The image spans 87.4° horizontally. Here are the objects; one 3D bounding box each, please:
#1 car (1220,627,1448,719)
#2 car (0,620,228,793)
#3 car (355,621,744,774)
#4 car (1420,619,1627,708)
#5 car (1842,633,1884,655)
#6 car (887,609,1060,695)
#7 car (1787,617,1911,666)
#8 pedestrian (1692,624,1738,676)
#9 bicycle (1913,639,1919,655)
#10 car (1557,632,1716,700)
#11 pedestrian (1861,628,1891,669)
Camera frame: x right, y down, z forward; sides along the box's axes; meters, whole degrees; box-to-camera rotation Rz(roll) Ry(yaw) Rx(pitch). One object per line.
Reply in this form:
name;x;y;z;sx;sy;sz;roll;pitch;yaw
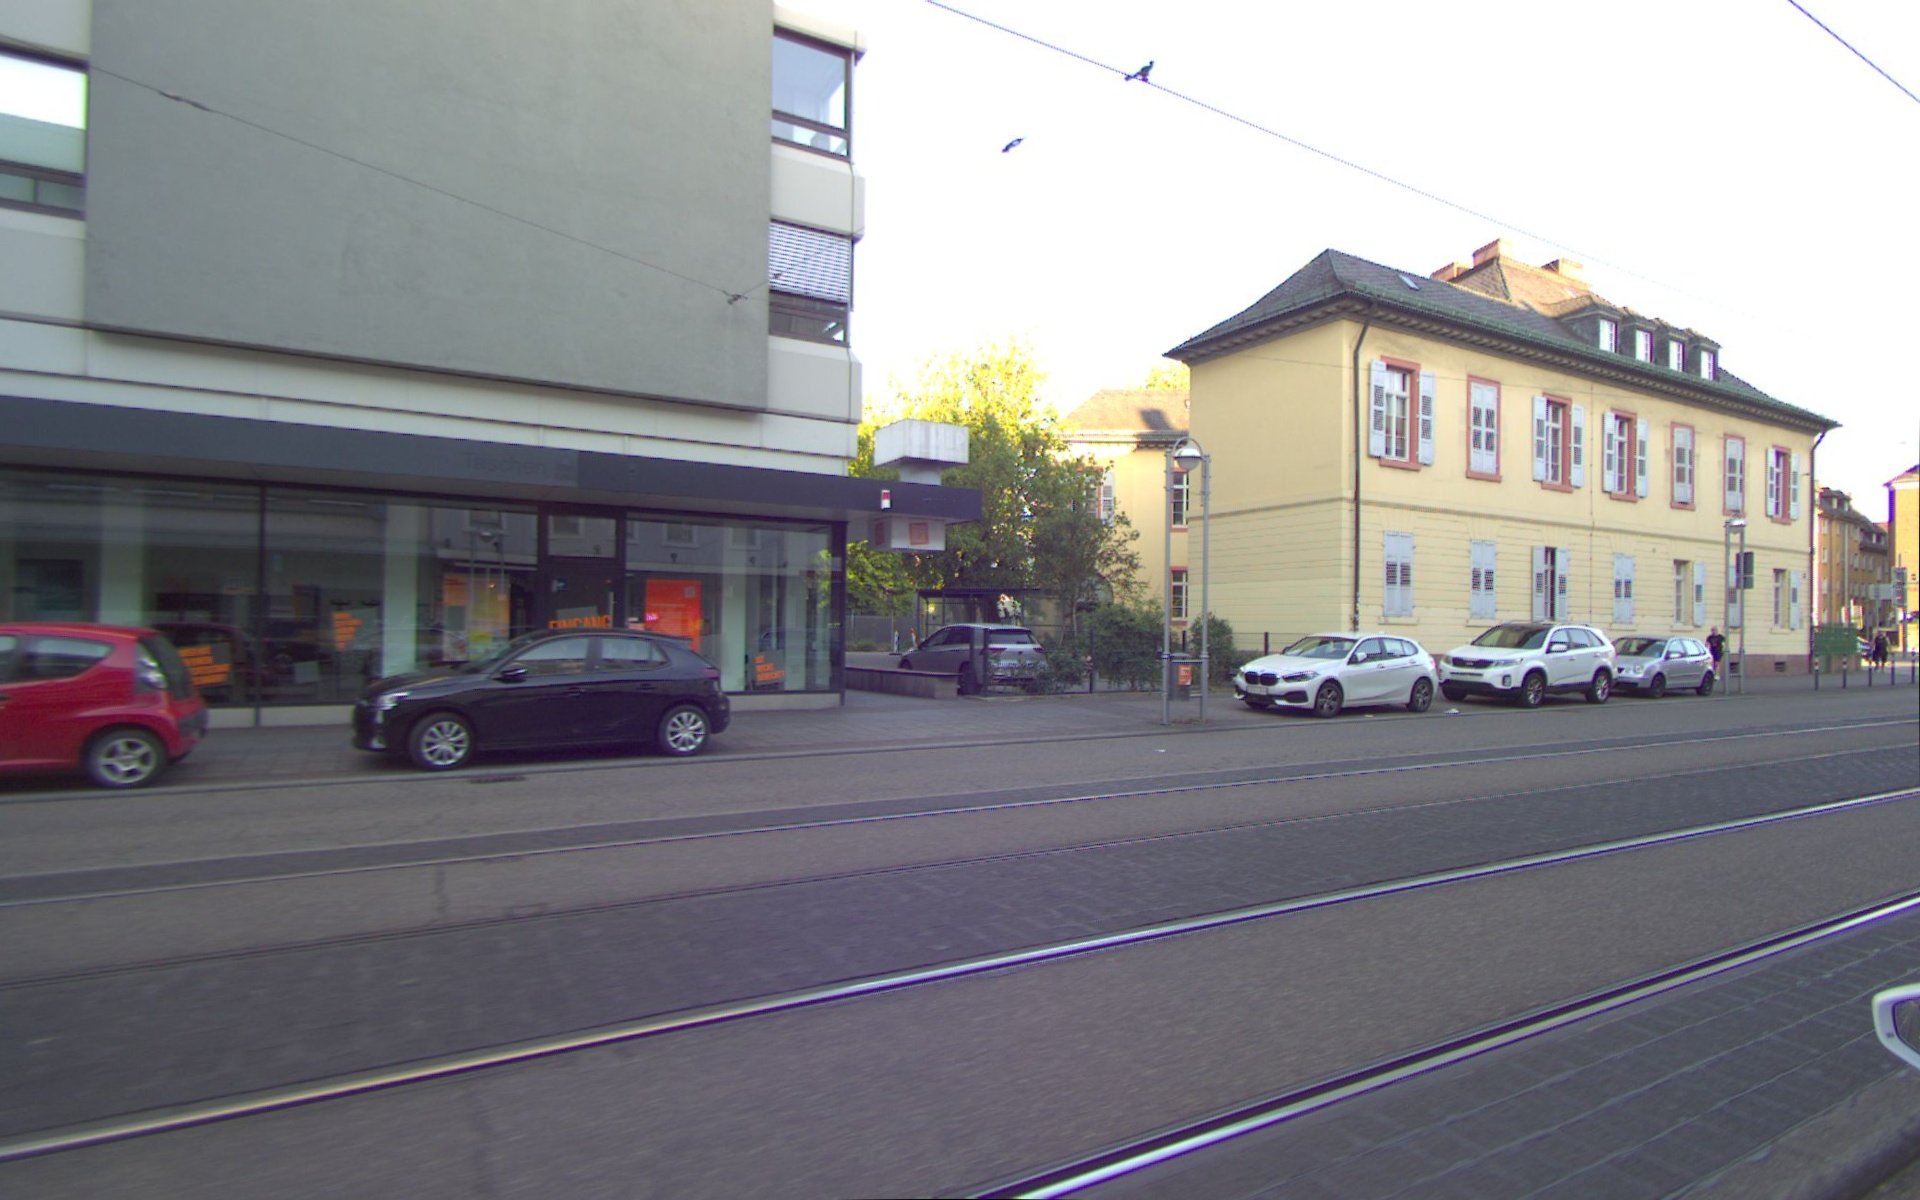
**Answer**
car;7.028;1.294;18.758;4.234;1.472;1.712;1;0;-31
car;-8.929;0.916;9.077;3.550;1.453;1.683;1;-1;-31
car;-4.676;1.012;11.631;3.919;1.444;1.683;1;1;-31
car;12.237;1.317;21.734;4.709;1.683;1.876;1;0;-33
car;60.858;2.965;67.757;1.744;1.394;4.207;0;-1;37
car;0.193;1.057;21.699;1.893;1.573;3.965;2;0;-32
car;38.377;1.754;43.425;3.946;2.040;1.988;-1;-2;44
pedestrian;23.313;1.530;31.024;0.866;1.562;0.796;2;0;-28
bicycle;67.520;3.322;69.203;2.609;1.114;0.433;2;0;41
car;16.761;1.572;24.863;3.954;1.494;1.739;1;1;-31
pedestrian;35.800;1.897;39.260;0.712;1.556;0.715;2;-2;-34
